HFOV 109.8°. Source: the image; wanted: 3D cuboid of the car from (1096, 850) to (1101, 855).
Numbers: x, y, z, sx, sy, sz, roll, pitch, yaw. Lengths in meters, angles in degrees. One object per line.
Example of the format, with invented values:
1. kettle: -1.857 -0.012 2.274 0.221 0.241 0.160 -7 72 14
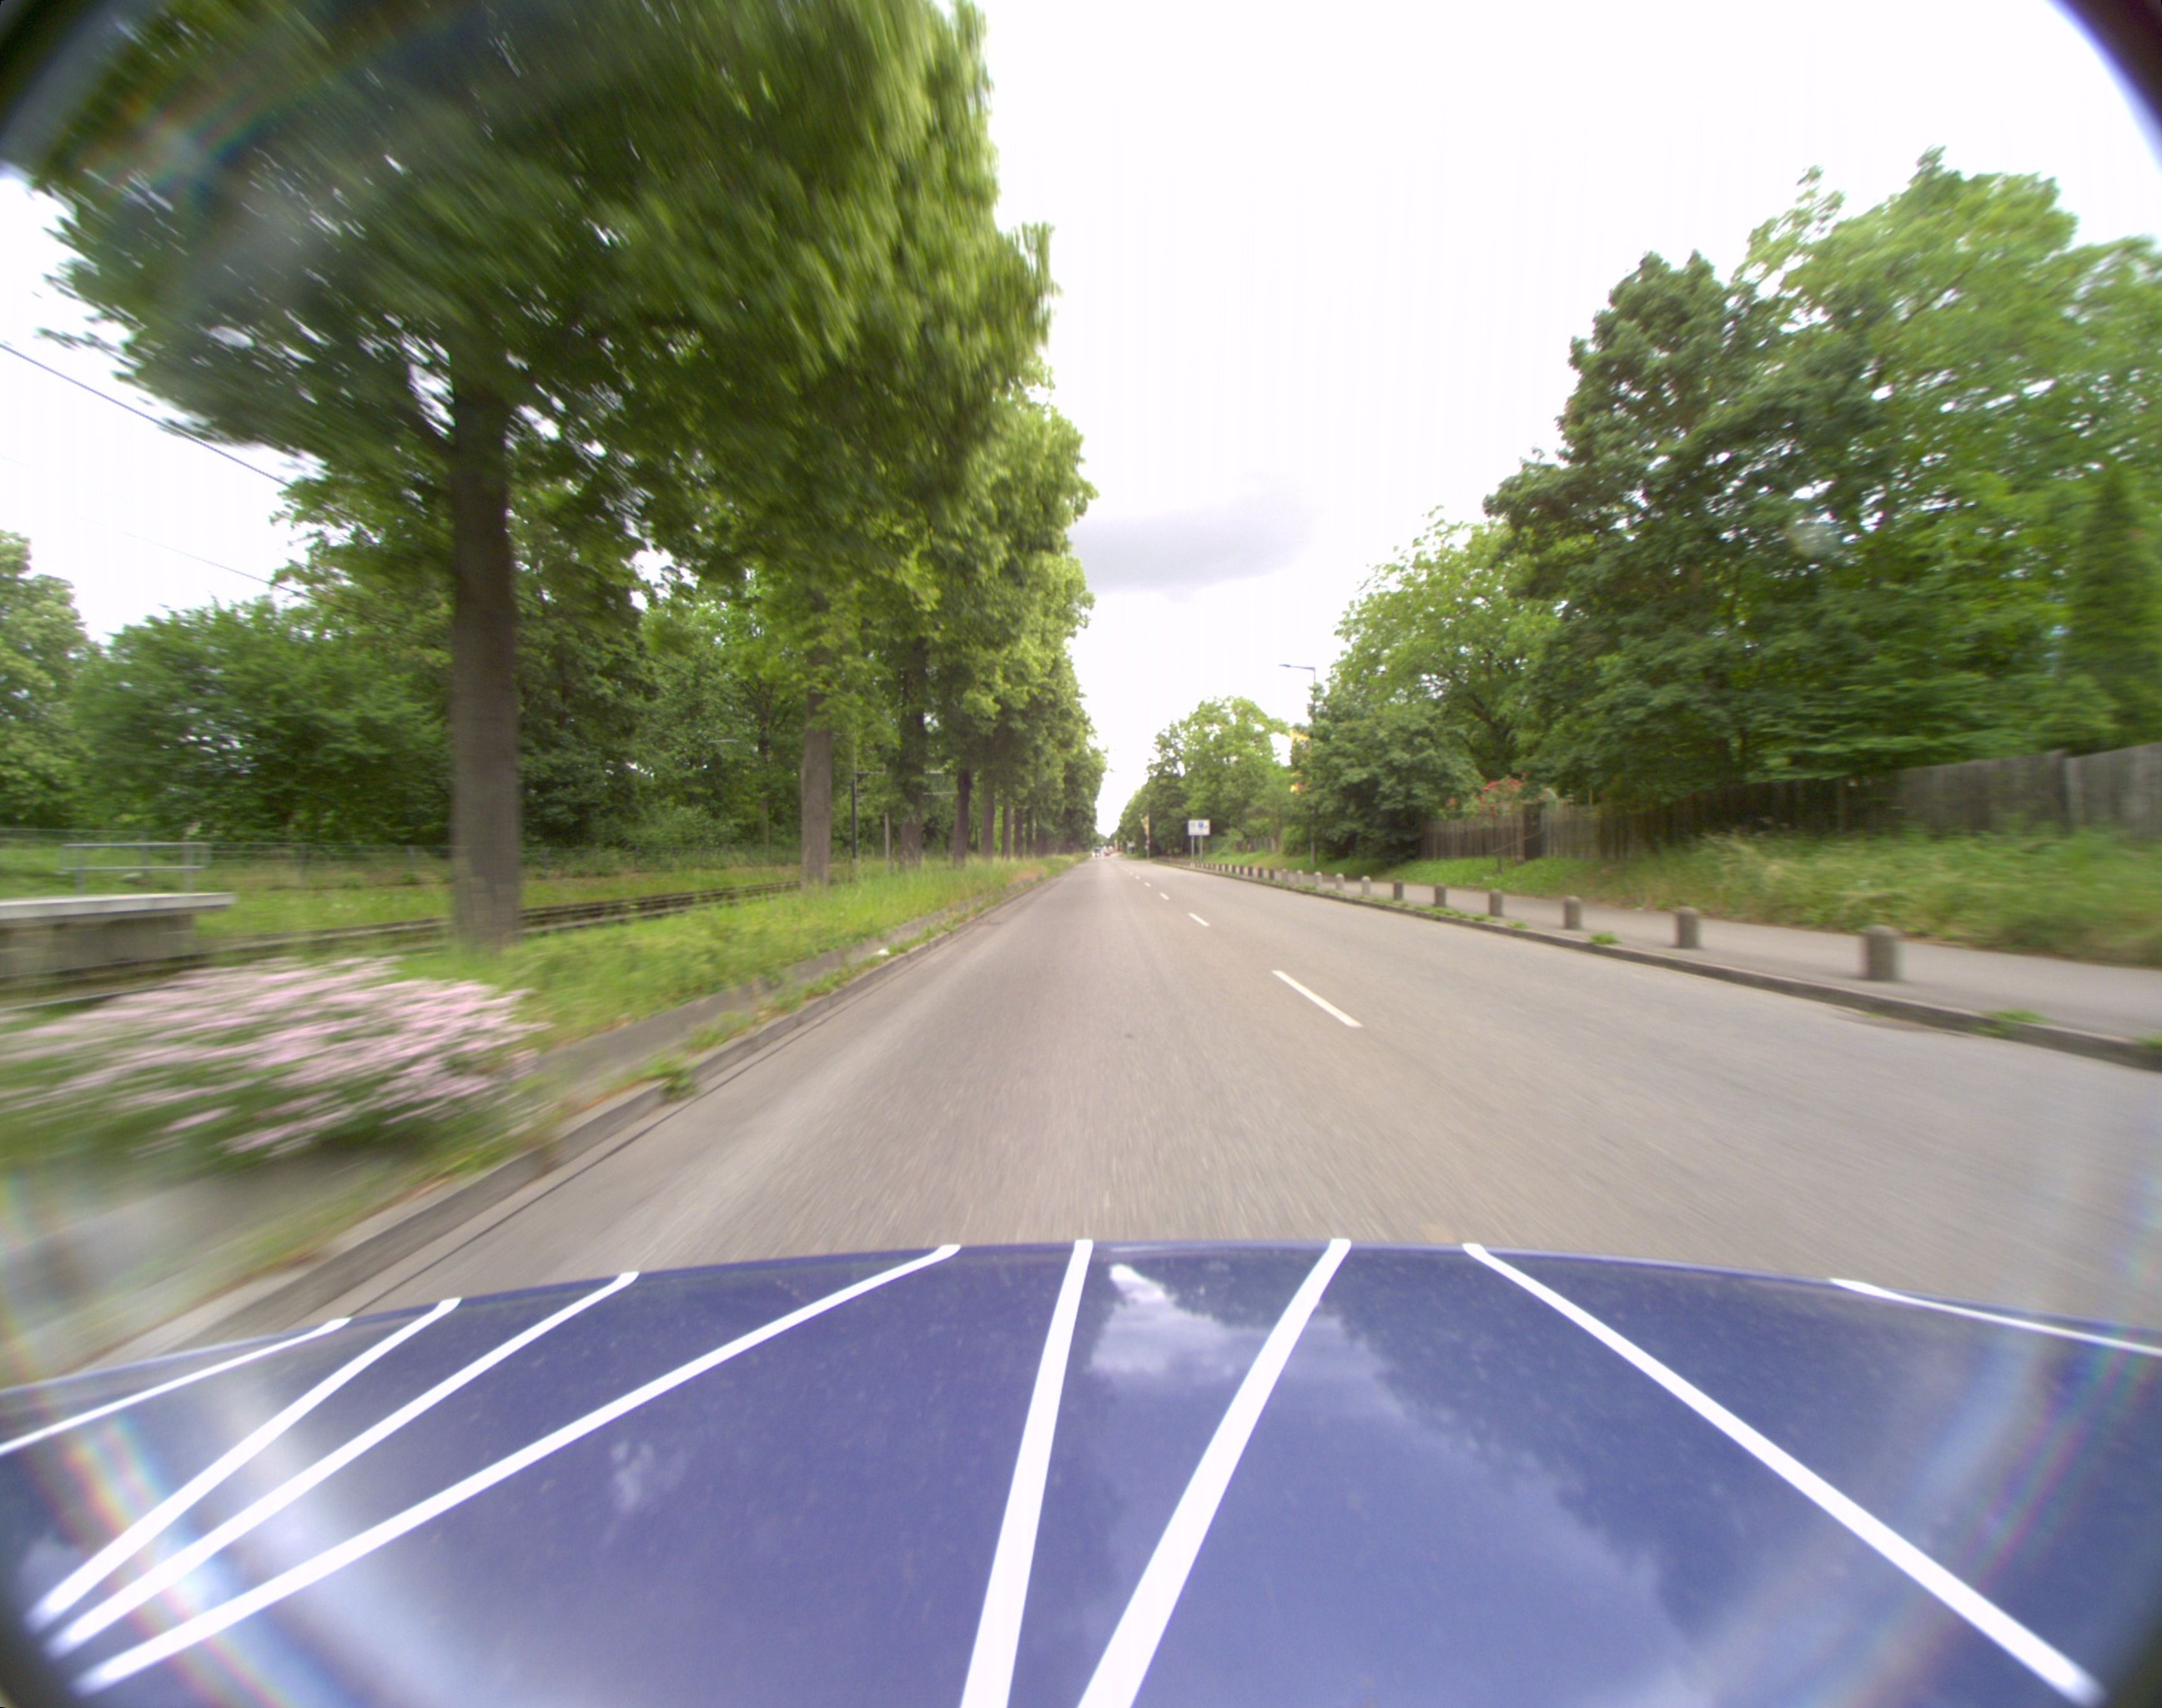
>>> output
1. car: 5.763 -0.535 249.686 1.762 1.601 3.999 -2 1 1
